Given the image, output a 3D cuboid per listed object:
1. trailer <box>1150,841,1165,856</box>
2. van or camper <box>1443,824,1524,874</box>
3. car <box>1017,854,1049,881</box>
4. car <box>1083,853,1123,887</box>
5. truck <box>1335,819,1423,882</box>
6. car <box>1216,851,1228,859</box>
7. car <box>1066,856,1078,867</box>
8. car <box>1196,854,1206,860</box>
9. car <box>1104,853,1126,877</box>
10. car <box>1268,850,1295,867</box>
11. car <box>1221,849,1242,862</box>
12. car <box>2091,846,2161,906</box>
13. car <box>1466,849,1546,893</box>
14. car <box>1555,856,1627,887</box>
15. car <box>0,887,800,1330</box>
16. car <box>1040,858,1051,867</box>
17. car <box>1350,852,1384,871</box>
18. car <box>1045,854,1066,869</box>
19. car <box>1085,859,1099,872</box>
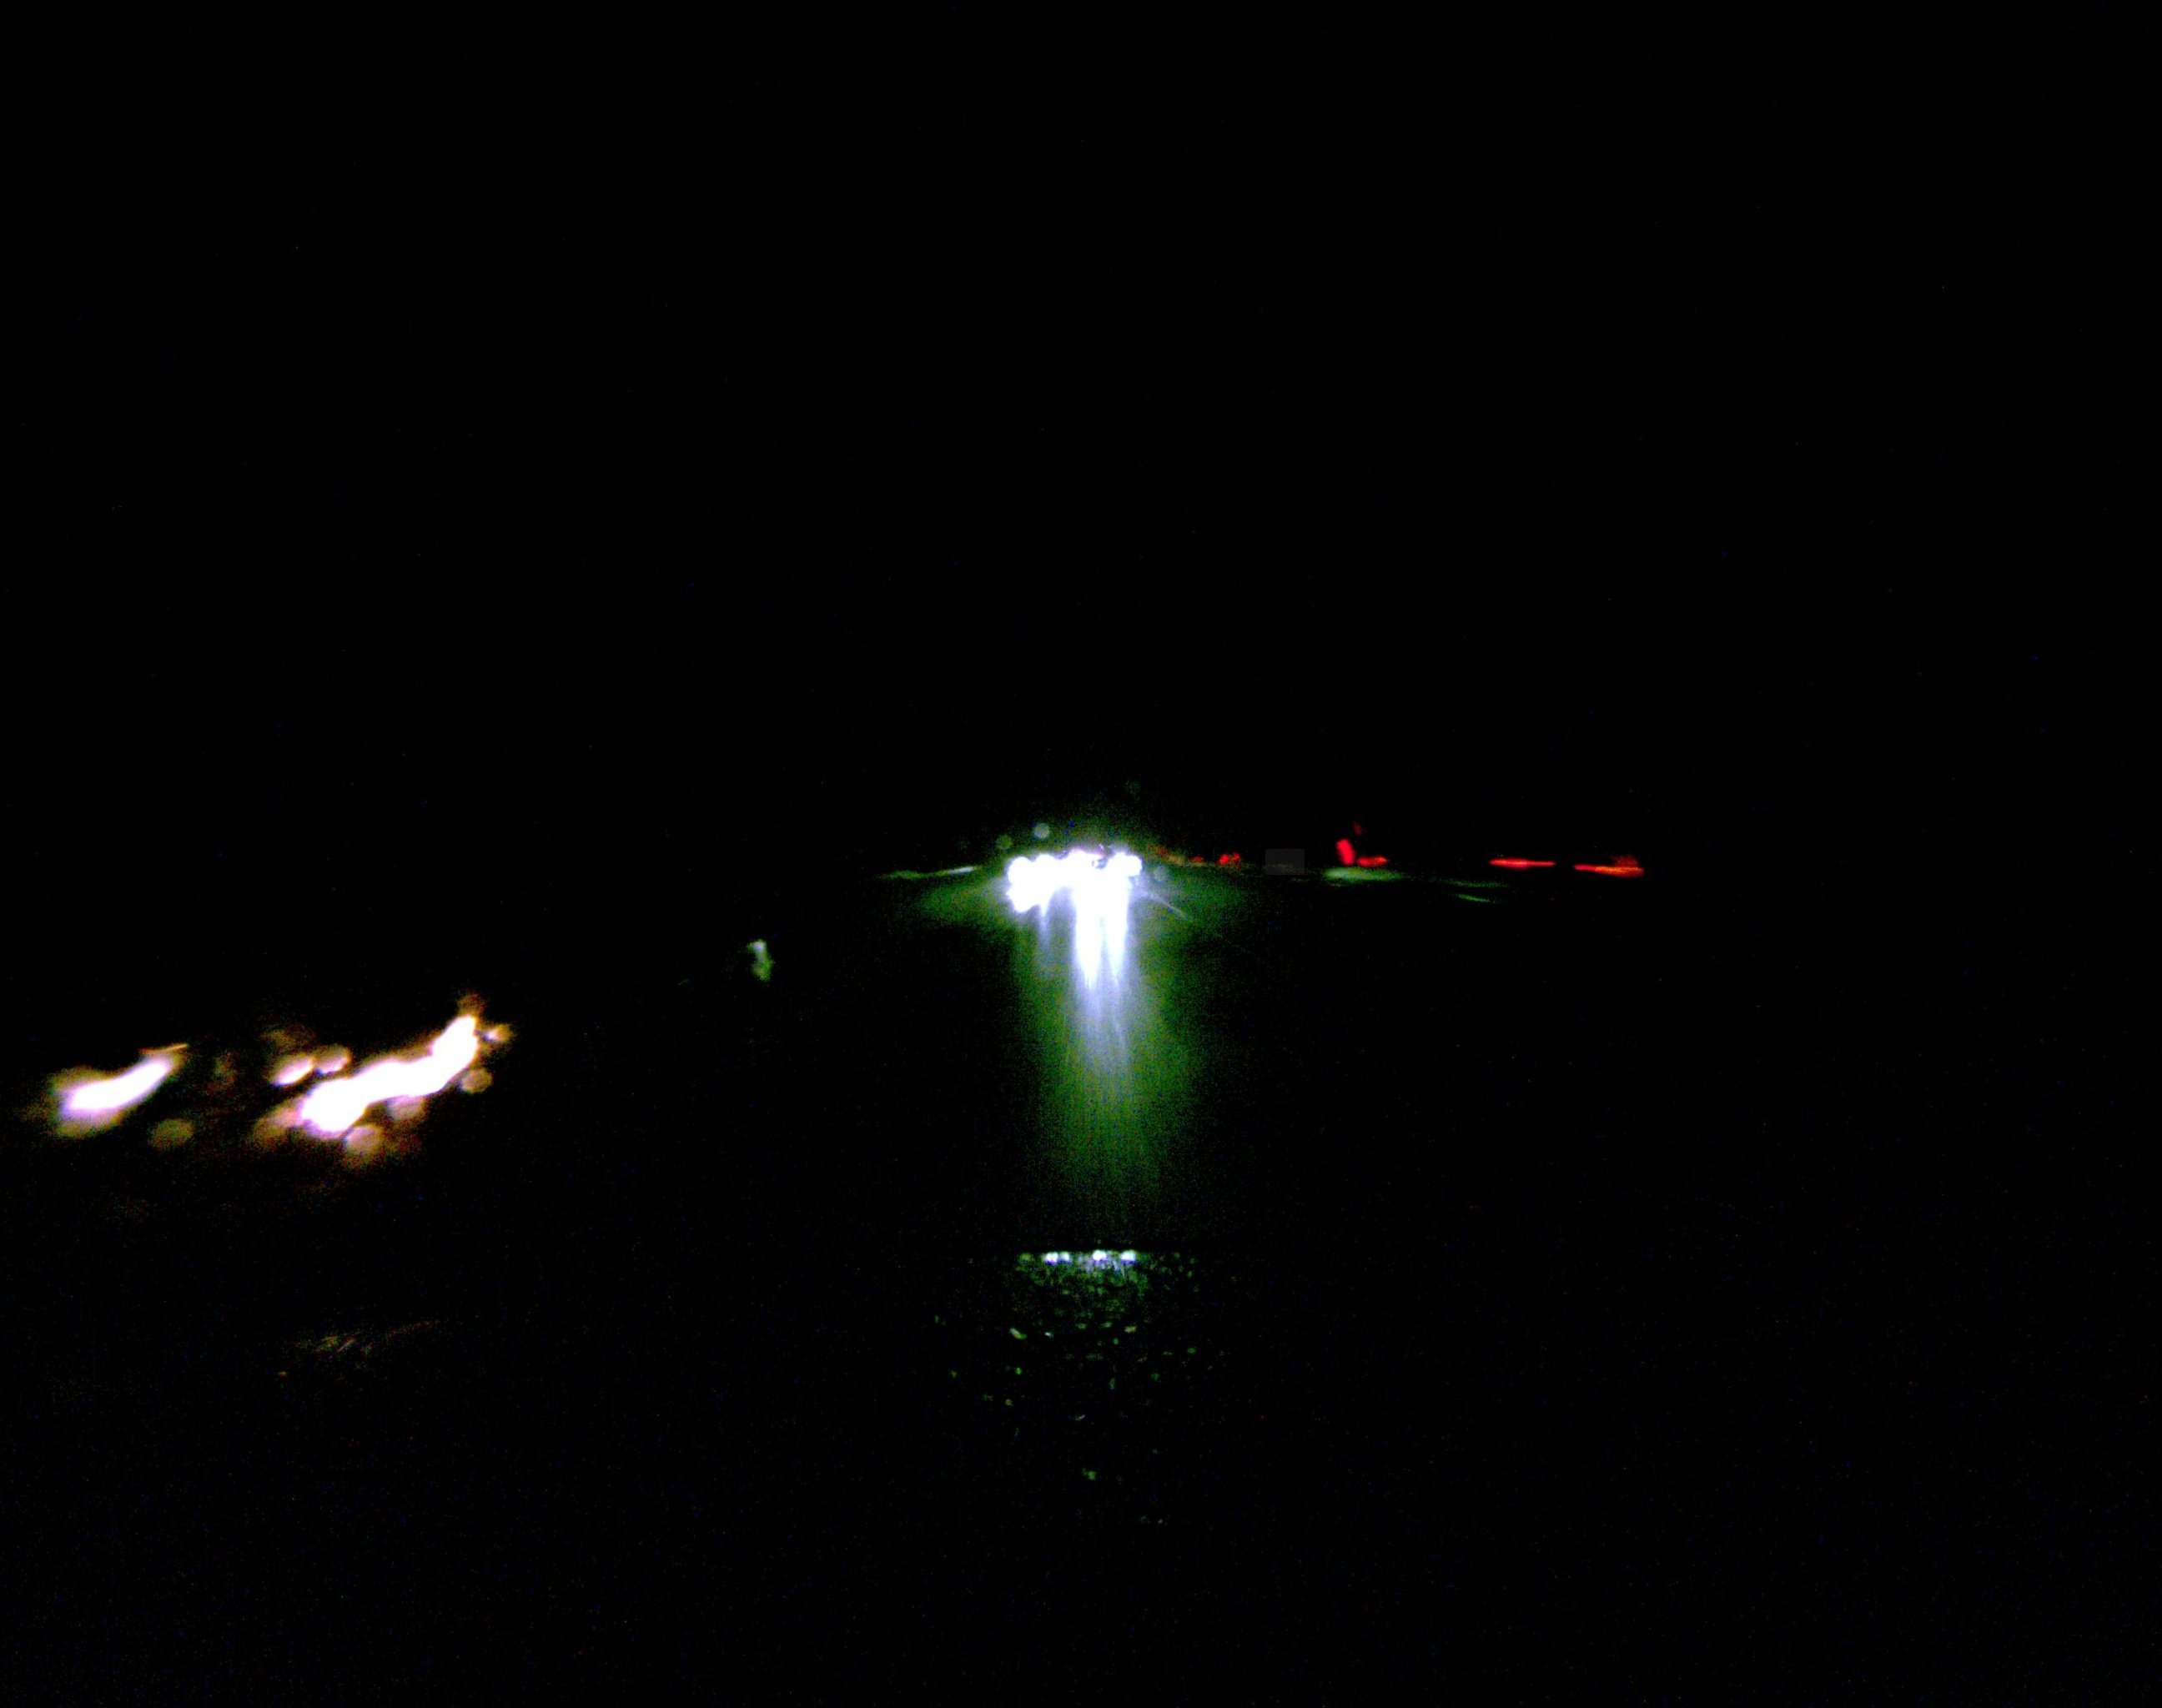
[{"bbox_3d":[27.039,-1.850,269.401,3.798,4.999,14.799,-2,1,1],"label":"trailer"},{"bbox_3d":[32.562,-0.435,61.849,2.520,3.679,7.679,-2,1,1],"label":"van or camper"},{"bbox_3d":[-3.259,0.882,52.415,1.792,1.681,4.000,-2,1,1],"label":"car"},{"bbox_3d":[1.158,0.832,41.422,1.960,1.655,4.915,-2,0,1],"label":"car"},{"bbox_3d":[33.540,-0.430,86.799,3.231,6.375,17.301,-2,1,1],"label":"truck"},{"bbox_3d":[29.422,0.206,158.563,1.766,1.679,4.000,-2,1,1],"label":"car"},{"bbox_3d":[-1.569,1.336,135.390,1.998,1.852,4.000,-2,1,1],"label":"car"},{"bbox_3d":[30.902,0.754,195.591,1.805,1.563,4.000,-2,1,1],"label":"car"},{"bbox_3d":[2.769,0.894,62.848,1.611,1.775,3.910,-2,1,1],"label":"car"},{"bbox_3d":[21.914,0.452,83.163,1.668,1.788,4.756,-2,1,1],"label":"car"},{"bbox_3d":[22.398,0.194,113.173,2.079,1.879,5.268,-2,1,1],"label":"car"},{"bbox_3d":[32.047,0.633,21.496,1.767,1.663,3.886,-2,1,1],"label":"car"},{"bbox_3d":[21.505,0.803,38.606,1.795,2.002,4.000,-2,1,1],"label":"car"},{"bbox_3d":[27.236,0.884,40.689,1.547,1.492,3.461,-2,1,1],"label":"car"},{"bbox_3d":[-3.543,1.061,4.969,1.774,1.449,4.195,-2,0,1],"label":"car"},{"bbox_3d":[-6.609,1.590,140.514,1.755,1.563,4.000,-2,1,1],"label":"car"},{"bbox_3d":[27.708,0.710,73.790,1.680,1.618,4.204,-2,1,1],"label":"car"},{"bbox_3d":[-3.029,0.869,91.336,1.998,1.590,4.653,-2,1,3],"label":"car"},{"bbox_3d":[1.500,1.481,101.138,1.755,1.563,4.000,-2,1,1],"label":"car"}]
